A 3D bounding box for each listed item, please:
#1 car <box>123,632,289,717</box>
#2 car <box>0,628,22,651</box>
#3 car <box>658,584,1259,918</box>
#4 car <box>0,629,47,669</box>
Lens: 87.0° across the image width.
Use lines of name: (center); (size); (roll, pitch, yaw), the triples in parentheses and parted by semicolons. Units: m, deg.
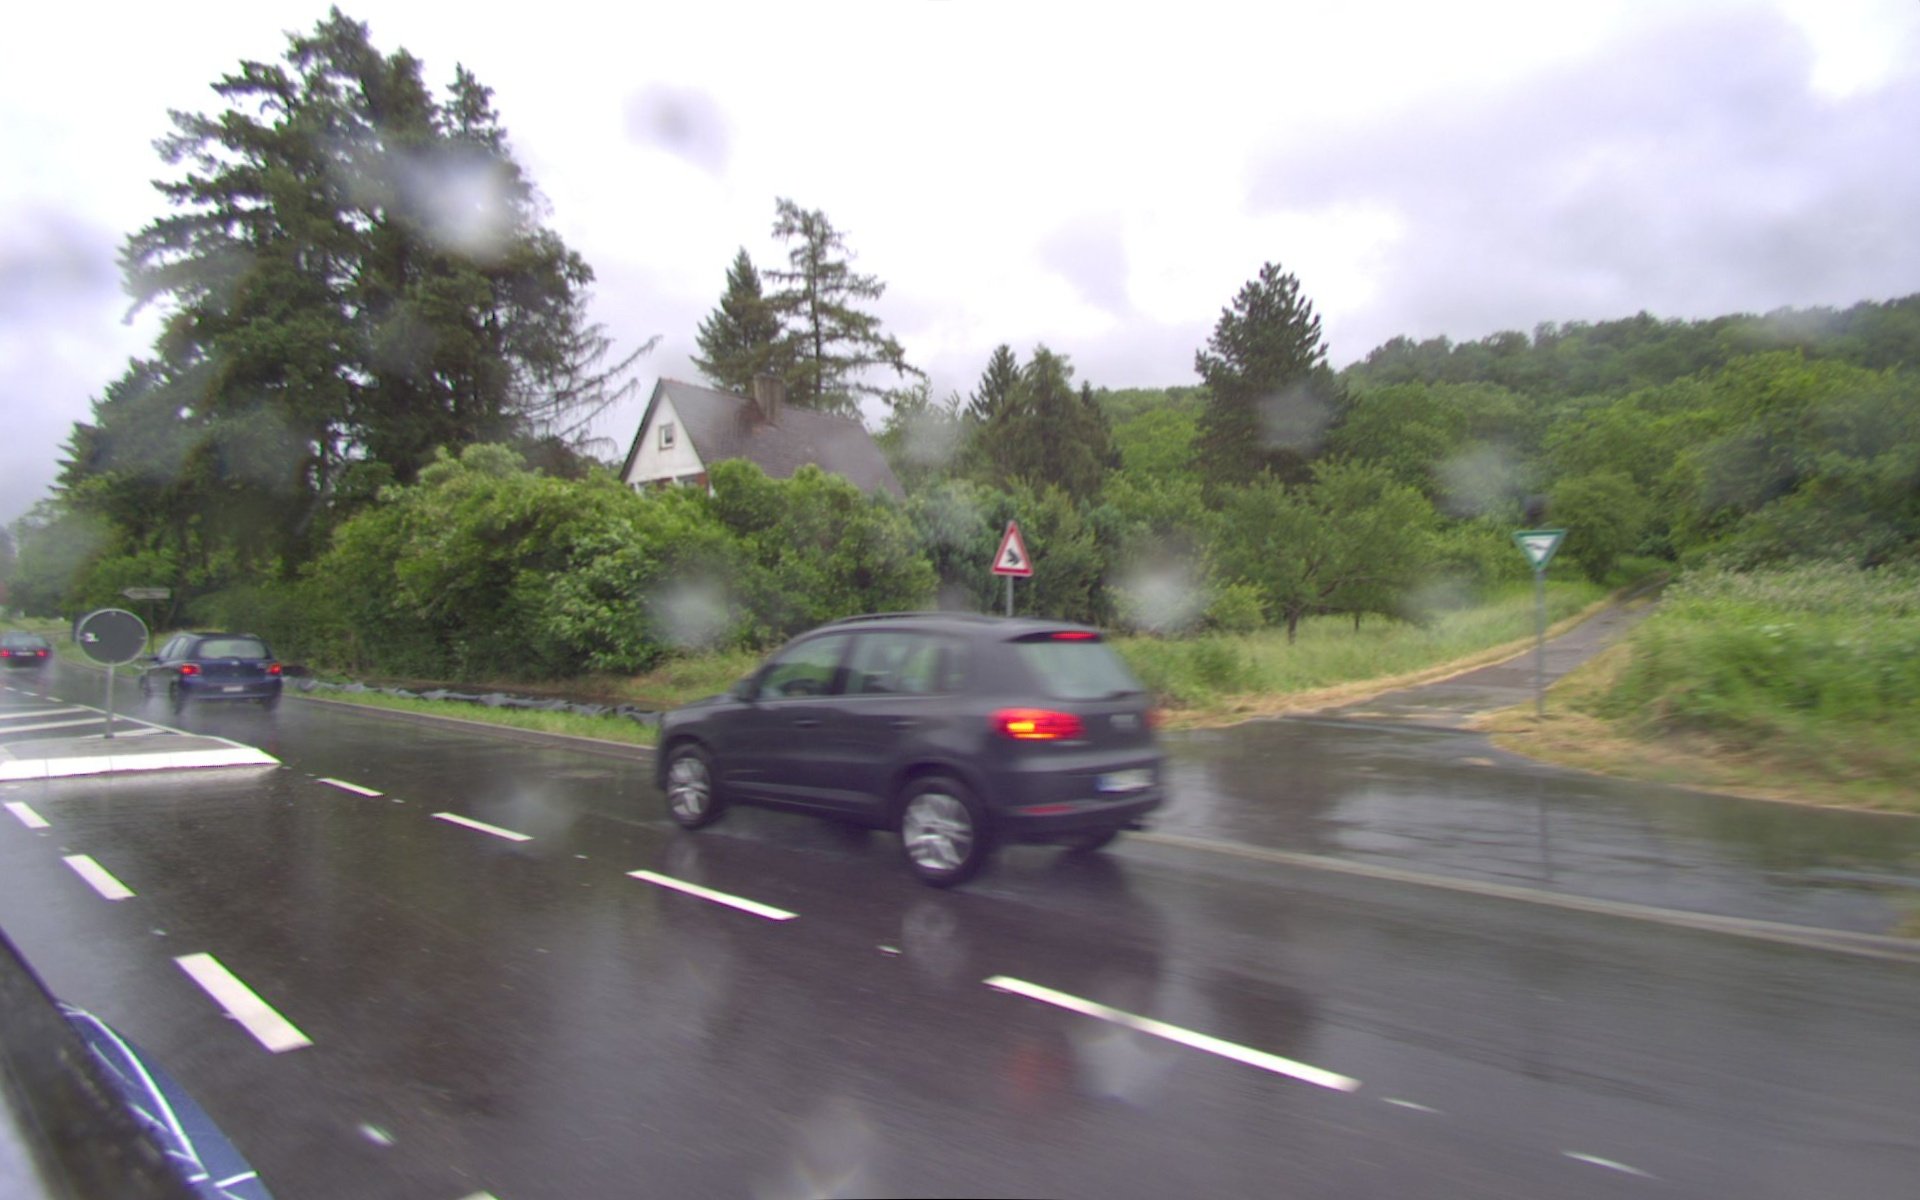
car: (-14.428, 1.377, 19.309); (3.680, 1.456, 1.723); (-2, -4, 41)
car: (-71.511, 2.973, 75.800); (1.740, 1.564, 4.003); (2, -5, -44)
car: (-0.215, 0.879, 7.338); (4.264, 1.731, 1.723); (-2, -4, 41)
car: (-34.686, 1.762, 36.748); (4.221, 1.393, 1.666); (-2, -3, 40)
